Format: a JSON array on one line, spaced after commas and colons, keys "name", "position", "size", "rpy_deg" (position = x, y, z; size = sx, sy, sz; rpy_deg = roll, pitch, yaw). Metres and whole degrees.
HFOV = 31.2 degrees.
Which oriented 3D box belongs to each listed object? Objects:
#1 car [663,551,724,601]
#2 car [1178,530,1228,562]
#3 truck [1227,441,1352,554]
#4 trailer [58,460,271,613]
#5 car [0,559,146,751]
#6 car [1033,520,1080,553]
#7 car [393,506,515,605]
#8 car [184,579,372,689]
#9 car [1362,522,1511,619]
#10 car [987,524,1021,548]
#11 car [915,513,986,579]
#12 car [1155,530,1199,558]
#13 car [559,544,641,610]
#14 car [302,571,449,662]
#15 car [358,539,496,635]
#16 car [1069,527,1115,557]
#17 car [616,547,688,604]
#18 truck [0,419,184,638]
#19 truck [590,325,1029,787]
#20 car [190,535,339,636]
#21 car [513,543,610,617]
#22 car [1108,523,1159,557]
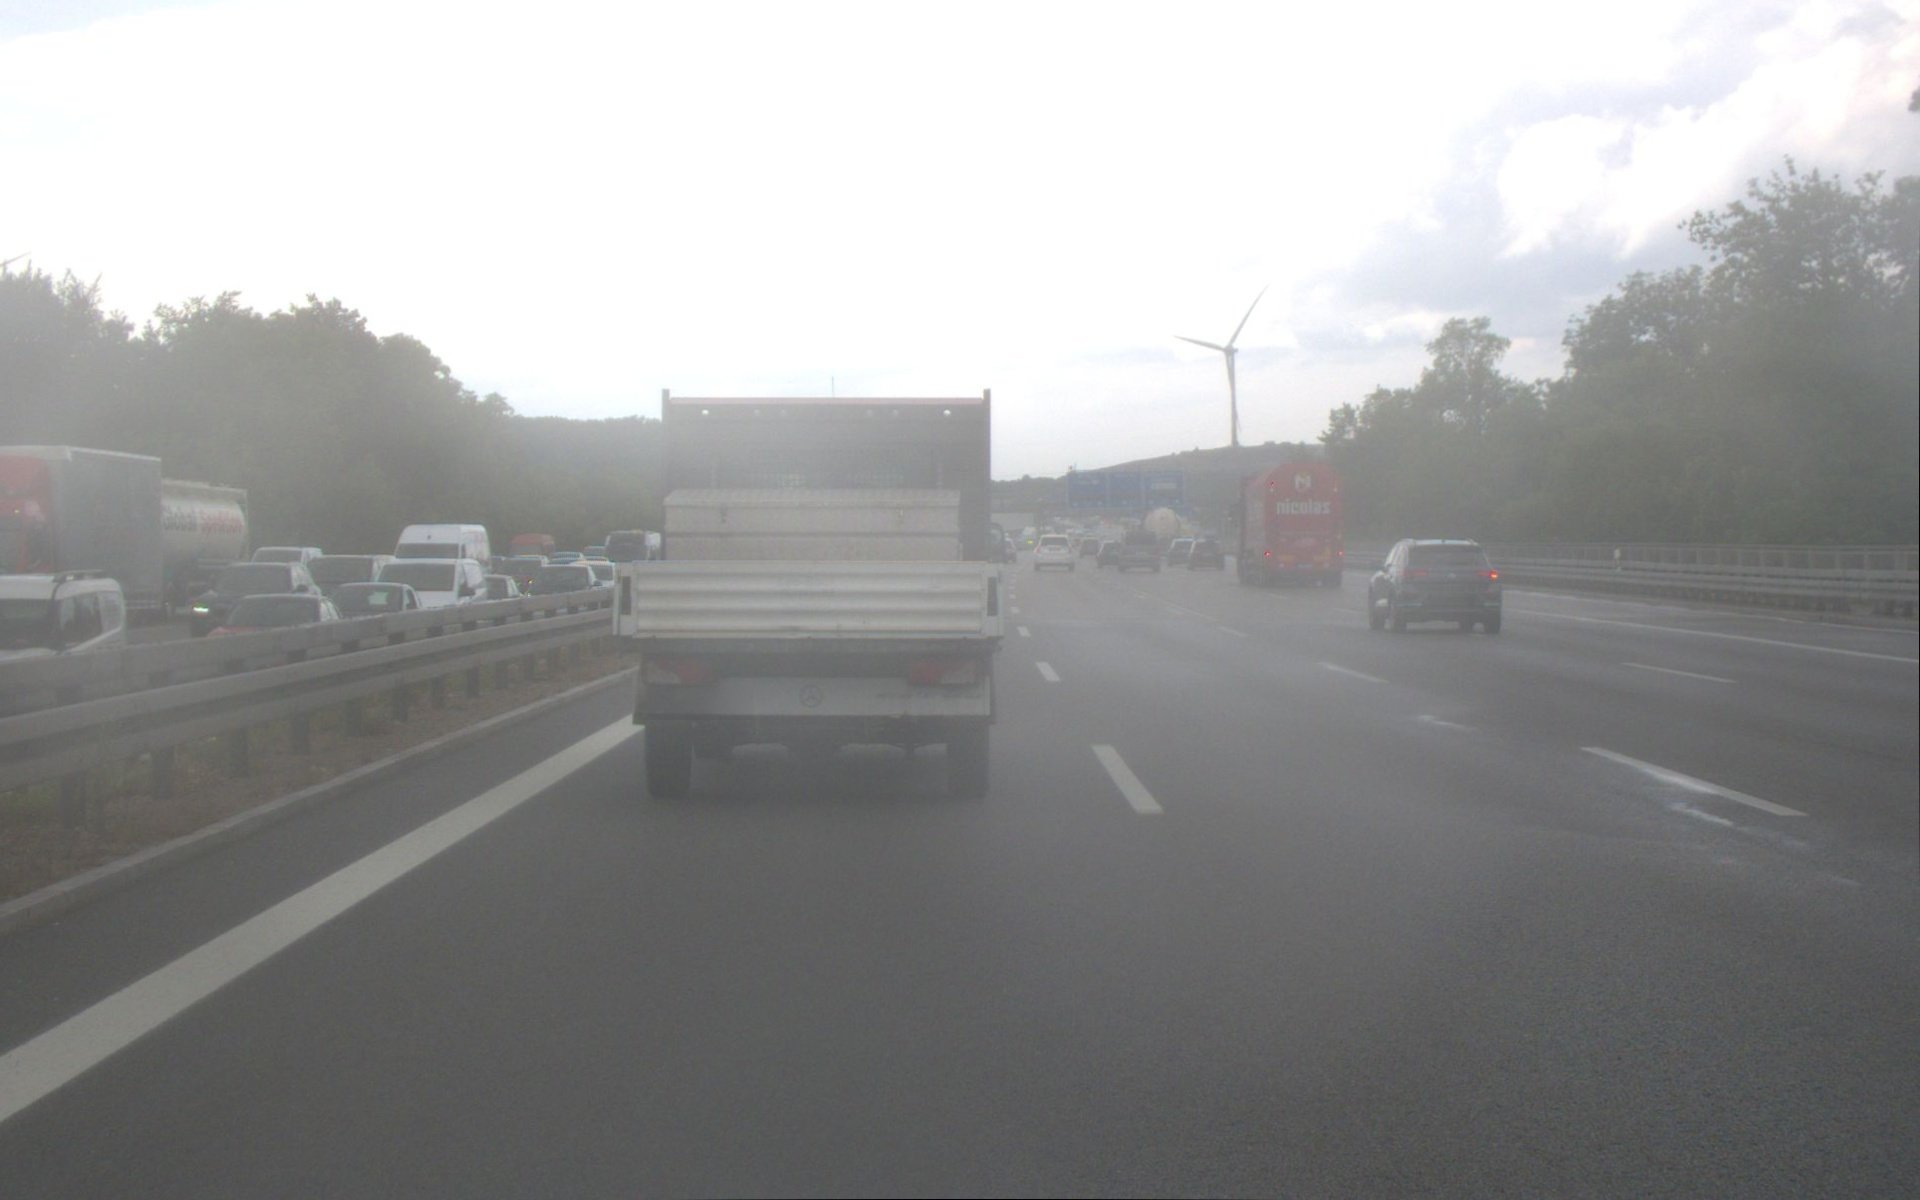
[{"name": "car", "position": [-9.998, -0.929, 129.333], "size": [1.894, 1.794, 4.596], "rpy_deg": [-1, 1, 0]}, {"name": "car", "position": [12.364, -2.751, 175.131], "size": [1.968, 1.555, 4.434], "rpy_deg": [-1, 1, -3]}, {"name": "truck", "position": [11.097, -3.533, 117.093], "size": [3.152, 3.589, 12.700], "rpy_deg": [1, 2, 1]}, {"name": "trailer", "position": [-22.410, -1.819, 97.740], "size": [3.008, 4.018, 13.140], "rpy_deg": [-1, 1, 0]}, {"name": "car", "position": [-10.575, 0.555, 38.254], "size": [1.818, 1.945, 5.223], "rpy_deg": [-1, 1, -1]}, {"name": "car", "position": [4.716, -3.103, 168.840], "size": [1.968, 1.555, 4.434], "rpy_deg": [-1, 1, -3]}, {"name": "car", "position": [-14.189, -1.280, 96.895], "size": [2.127, 2.627, 7.609], "rpy_deg": [-1, 1, 1]}, {"name": "car", "position": [-9.949, 0.465, 50.455], "size": [1.894, 1.455, 4.478], "rpy_deg": [-1, 1, -1]}, {"name": "car", "position": [7.910, -0.516, 57.414], "size": [1.882, 1.537, 4.433], "rpy_deg": [-1, 1, 0]}, {"name": "car", "position": [2.915, -4.233, 226.835], "size": [1.968, 1.555, 4.434], "rpy_deg": [-1, 1, -3]}, {"name": "car", "position": [-0.272, -1.456, 91.315], "size": [1.717, 1.618, 4.279], "rpy_deg": [0, 2, -2]}, {"name": "car", "position": [12.496, -3.230, 198.145], "size": [1.968, 1.555, 4.434], "rpy_deg": [-1, 1, -3]}, {"name": "car", "position": [-10.210, -0.676, 97.817], "size": [1.894, 1.794, 4.596], "rpy_deg": [-1, 1, -1]}, {"name": "car", "position": [-10.343, 0.268, 61.114], "size": [1.894, 1.483, 4.478], "rpy_deg": [-1, 1, -1]}, {"name": "car", "position": [-10.606, -0.298, 68.786], "size": [1.894, 1.794, 5.842], "rpy_deg": [-1, 1, -1]}, {"name": "car", "position": [7.122, -3.153, 185.539], "size": [1.967, 1.555, 4.434], "rpy_deg": [-1, 1, -4]}, {"name": "car", "position": [-10.116, -0.835, 113.221], "size": [1.894, 1.794, 4.596], "rpy_deg": [-1, 1, 0]}, {"name": "truck", "position": [-18.765, -1.445, 70.716], "size": [2.798, 4.098, 12.296], "rpy_deg": [-1, 1, 0]}, {"name": "truck", "position": [-0.893, -0.252, 21.705], "size": [2.306, 2.431, 7.149], "rpy_deg": [0, 0, -2]}, {"name": "car", "position": [-14.266, -0.335, 70.813], "size": [1.894, 1.955, 5.588], "rpy_deg": [-1, 1, 0]}, {"name": "car", "position": [-10.196, -0.542, 88.238], "size": [1.894, 1.794, 5.571], "rpy_deg": [-1, 1, -1]}, {"name": "car", "position": [8.186, -2.838, 162.695], "size": [1.968, 1.555, 4.434], "rpy_deg": [-1, 1, -3]}]
